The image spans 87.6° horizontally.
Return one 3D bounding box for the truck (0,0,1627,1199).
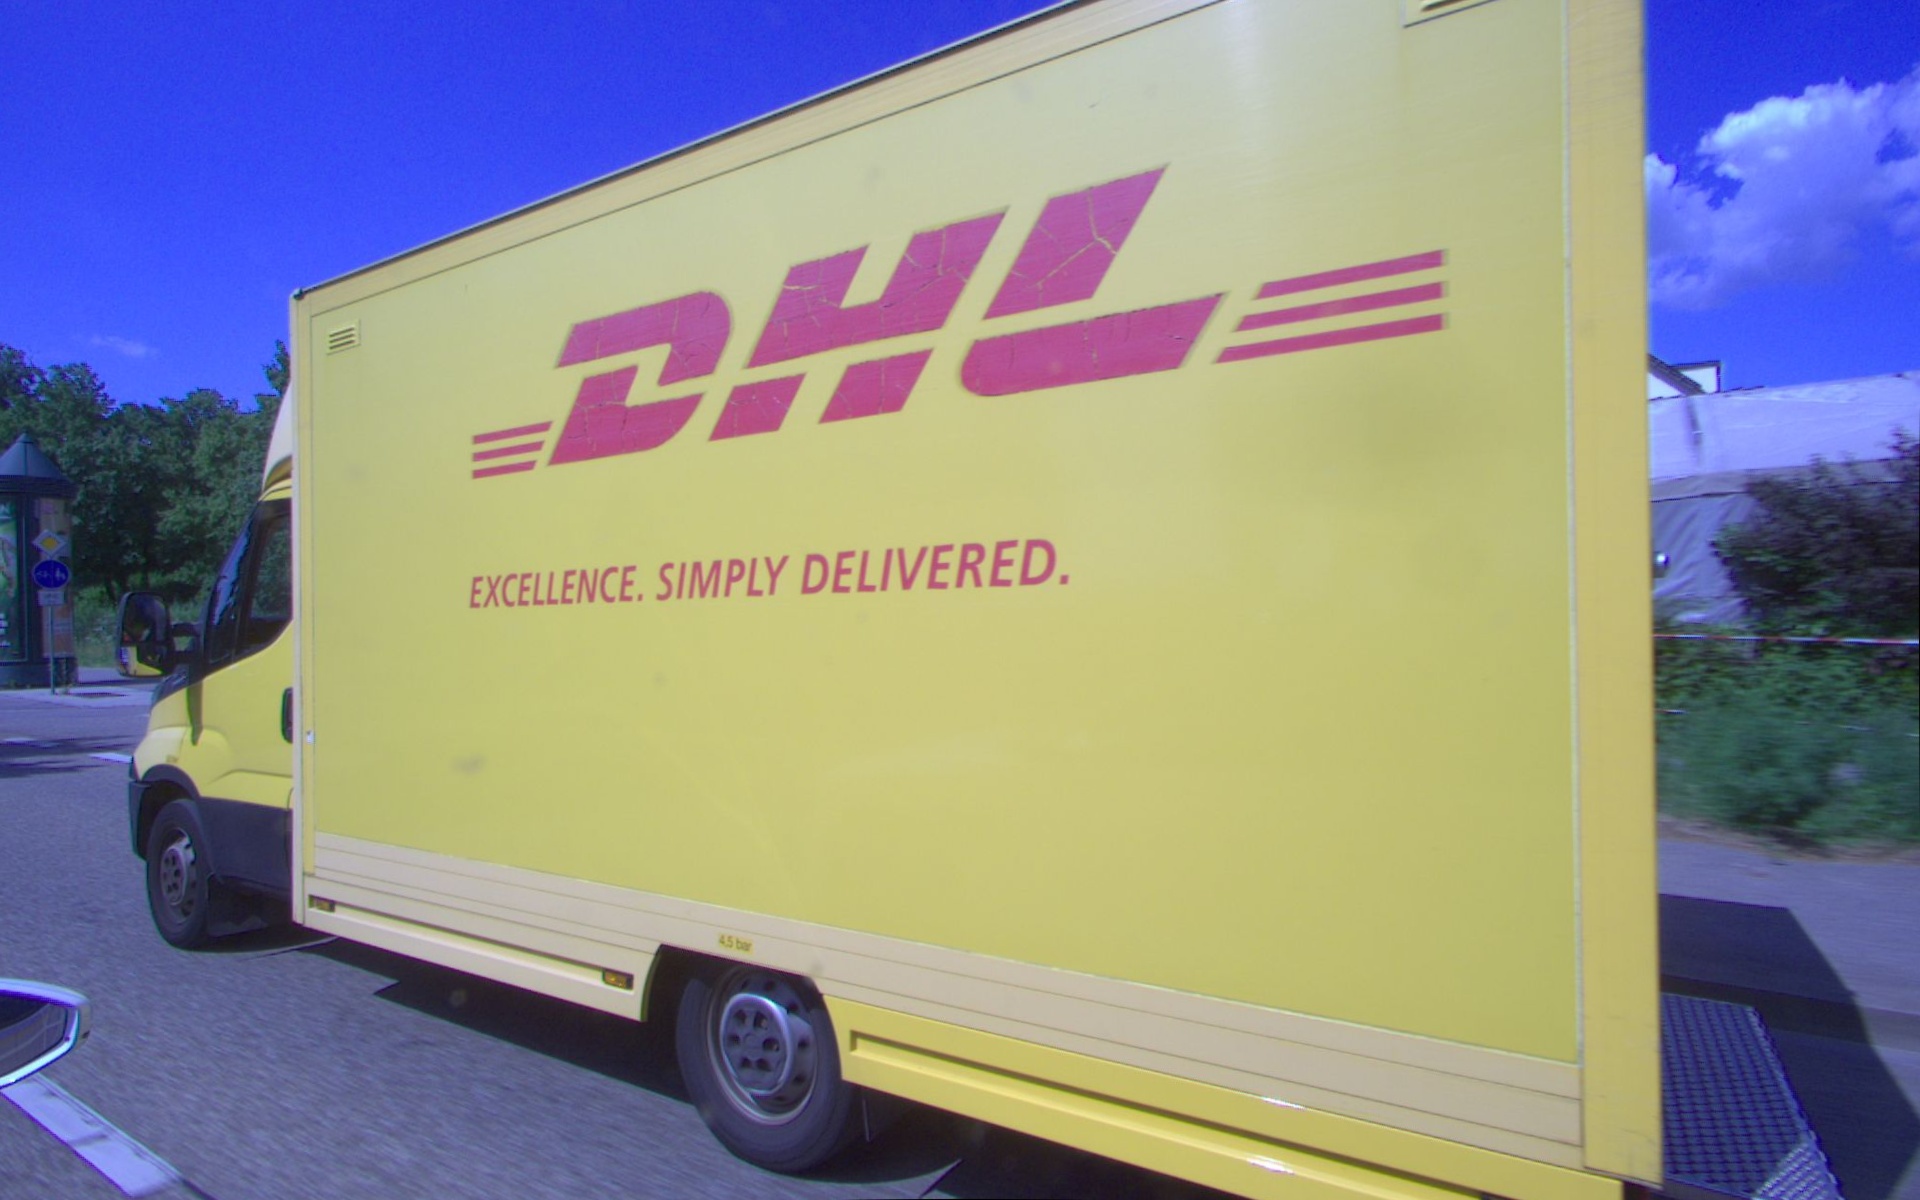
[{"bbox_3d":[-1.761,0.139,4.610,7.909,2.917,2.262,-1,-1,31],"label":"truck"}]
